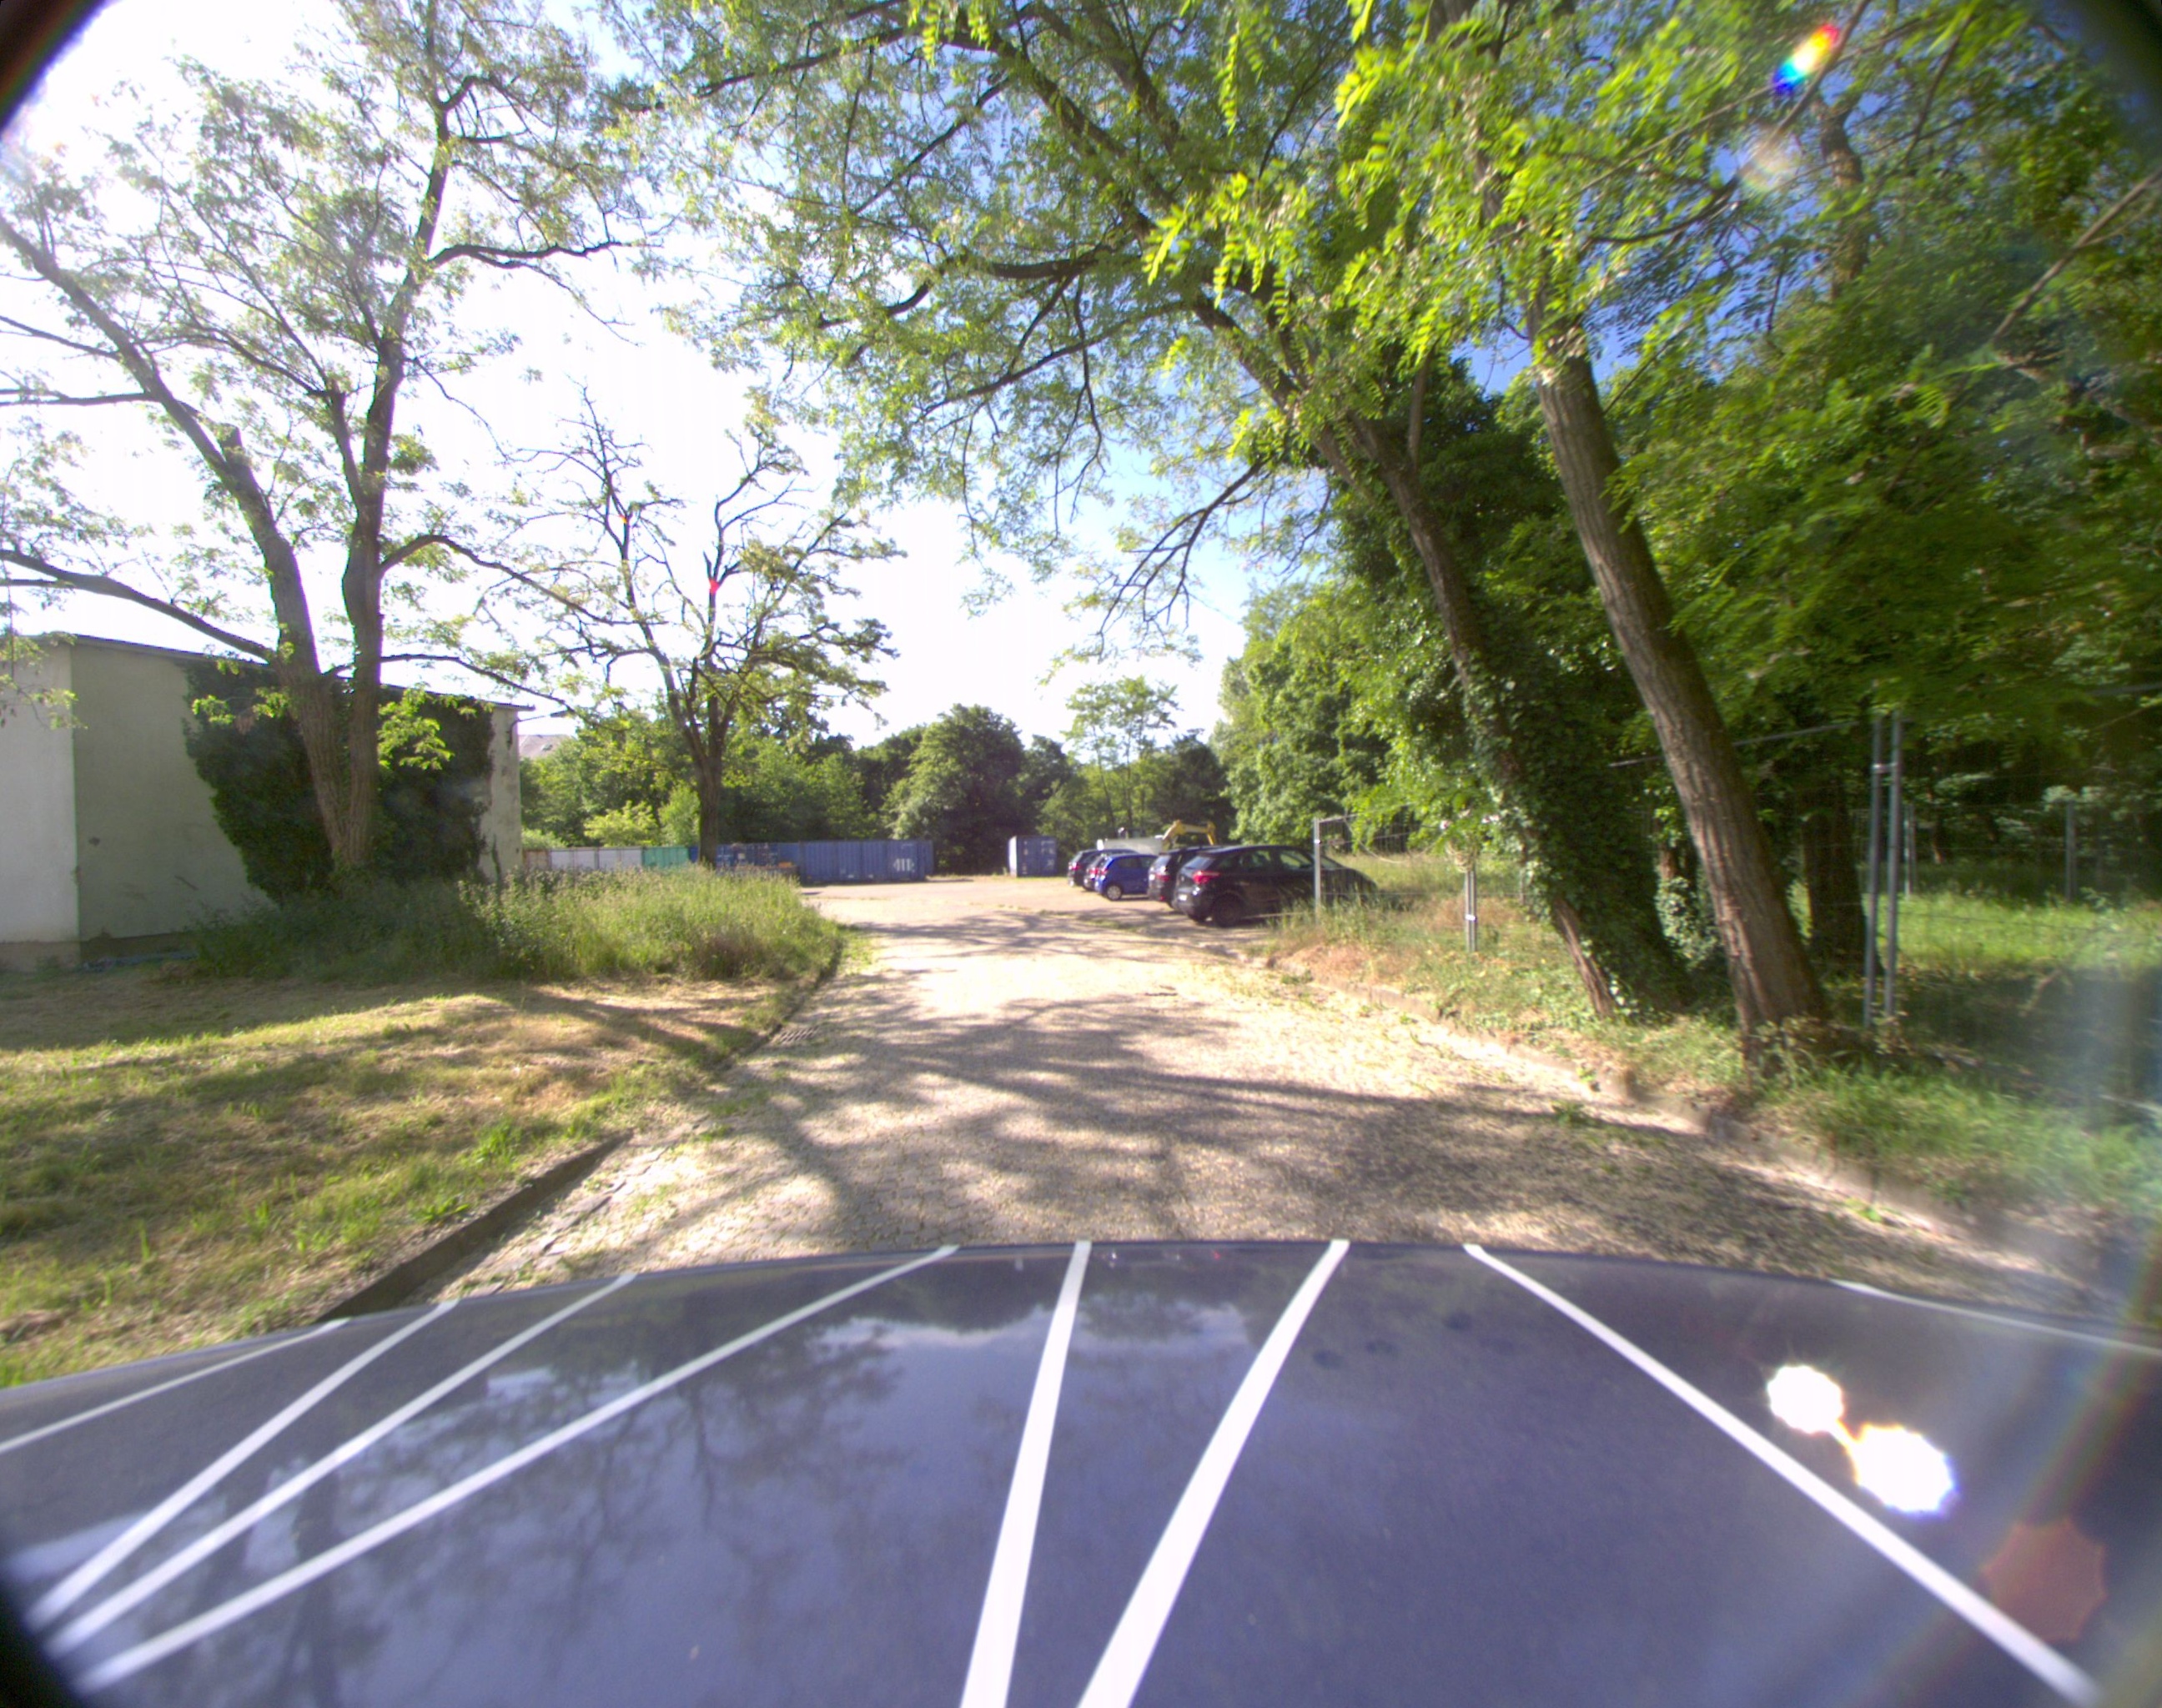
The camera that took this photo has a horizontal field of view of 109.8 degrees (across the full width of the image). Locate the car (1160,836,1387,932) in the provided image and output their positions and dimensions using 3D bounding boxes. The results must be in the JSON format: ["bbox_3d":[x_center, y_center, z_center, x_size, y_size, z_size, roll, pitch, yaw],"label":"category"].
[{"bbox_3d":[4.078,0.594,16.384,4.273,1.580,1.828,-5,1,-12],"label":"car"}]

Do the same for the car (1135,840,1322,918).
[{"bbox_3d":[3.764,0.586,19.714,4.273,1.622,1.878,-4,2,-11],"label":"car"}]

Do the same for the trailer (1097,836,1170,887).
[{"bbox_3d":[2.236,0.312,32.857,2.849,2.039,1.823,-2,1,-6],"label":"trailer"}]

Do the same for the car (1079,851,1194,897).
[{"bbox_3d":[1.959,0.681,27.455,3.789,1.403,1.894,-2,1,-7],"label":"car"}]

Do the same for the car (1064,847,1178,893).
[{"bbox_3d":[1.525,0.583,29.970,4.130,1.581,1.969,-2,1,-7],"label":"car"}]

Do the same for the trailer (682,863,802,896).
[{"bbox_3d":[-16.655,1.229,37.622,4.861,1.406,2.647,-1,1,-7],"label":"trailer"}]

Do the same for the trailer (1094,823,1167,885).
[{"bbox_3d":[2.253,-0.006,35.091,2.849,2.524,2.264,-5,2,-6],"label":"trailer"}]

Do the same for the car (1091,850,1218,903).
[{"bbox_3d":[2.342,0.700,24.845,3.789,1.450,1.784,-3,1,-6],"label":"car"}]
